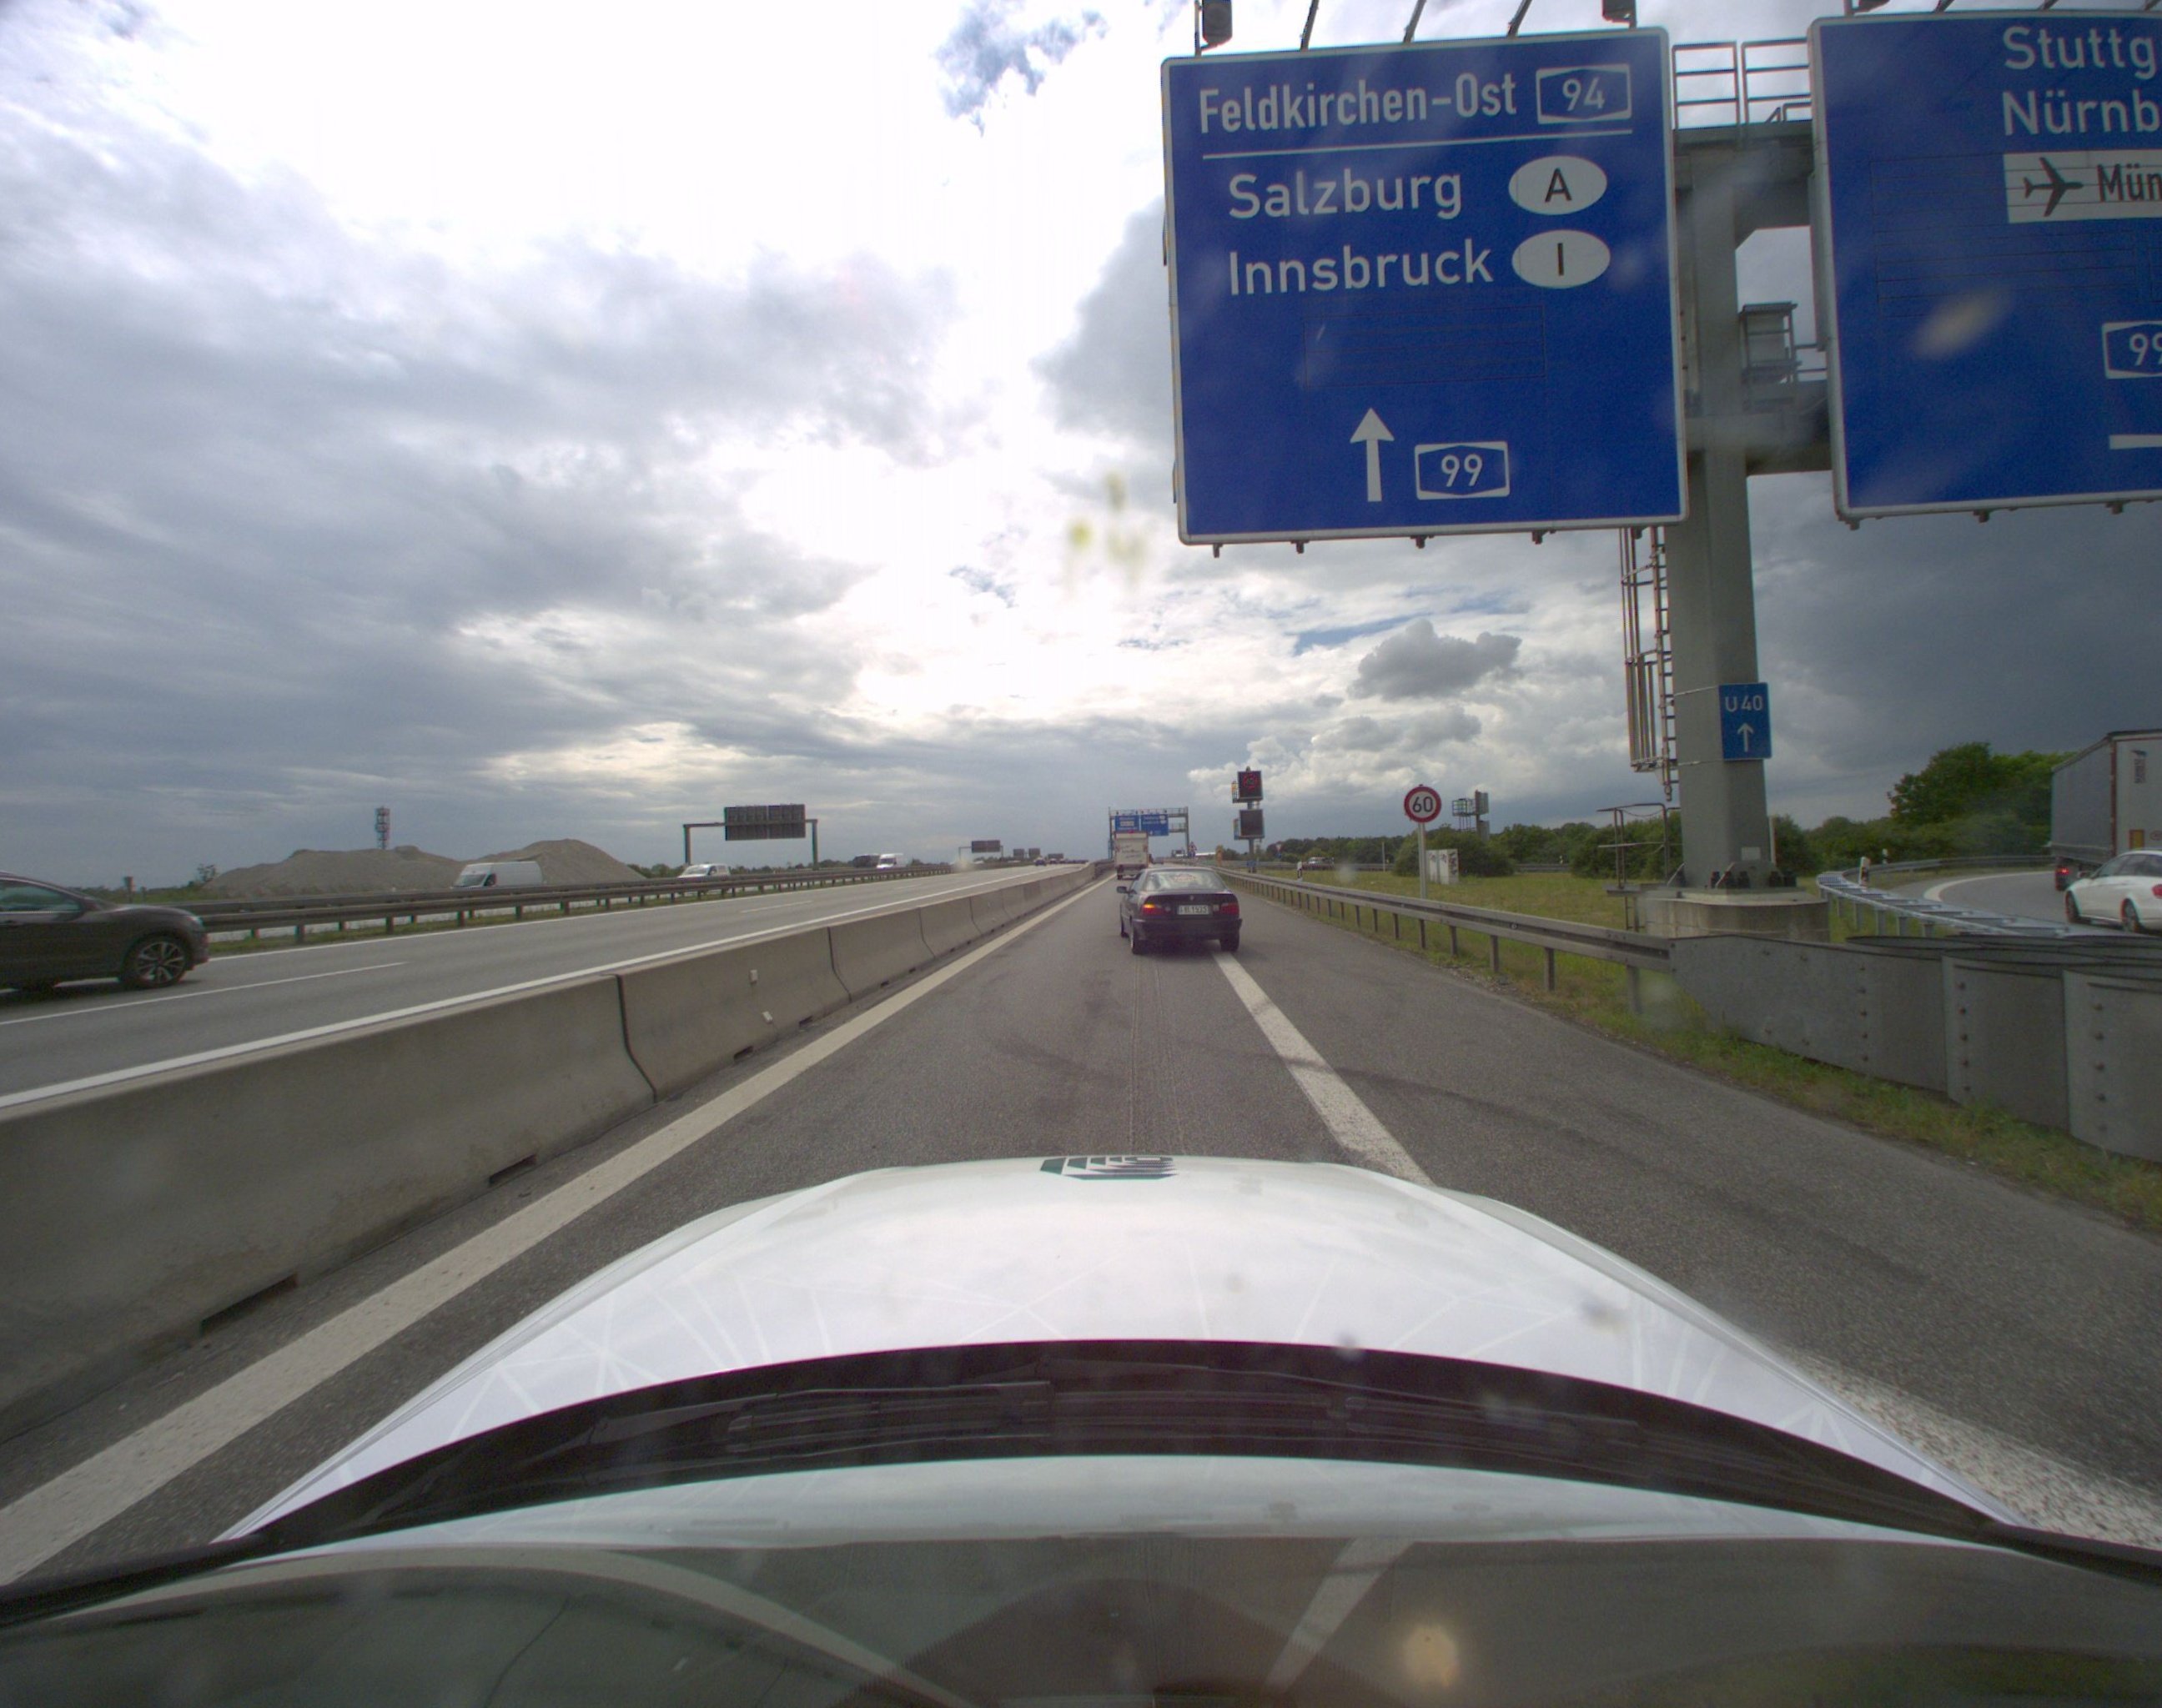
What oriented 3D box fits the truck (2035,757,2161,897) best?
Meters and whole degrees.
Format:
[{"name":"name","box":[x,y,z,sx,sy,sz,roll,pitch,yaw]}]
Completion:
[{"name":"truck","box":[33.898,-0.802,26.477,6.827,4.095,3.329,0,-1,-43]}]

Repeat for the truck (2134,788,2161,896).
[{"name":"truck","box":[50.269,-0.529,35.677,9.008,4.615,3.255,0,-1,-26]}]

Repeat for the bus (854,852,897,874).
[{"name":"bus","box":[-33.912,1.429,135.113,3.201,3.442,13.000,0,0,2]}]

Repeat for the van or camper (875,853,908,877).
[{"name":"van or camper","box":[-22.226,1.240,95.811,2.179,2.619,6.906,-1,0,1]}]

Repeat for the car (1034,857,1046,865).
[{"name":"car","box":[-7.789,1.337,156.040,1.986,1.662,4.385,-1,0,2]}]

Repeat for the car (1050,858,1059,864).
[{"name":"car","box":[-6.548,1.790,201.849,1.987,1.541,4.000,-1,0,1]}]

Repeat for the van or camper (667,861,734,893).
[{"name":"van or camper","box":[-23.785,1.405,51.108,1.985,1.829,4.350,-1,0,2]}]

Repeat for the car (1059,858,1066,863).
[{"name":"car","box":[-5.497,2.030,240.686,1.987,1.398,4.000,-1,0,1]}]

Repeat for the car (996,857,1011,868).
[{"name":"car","box":[-12.332,1.365,129.097,1.659,1.706,4.005,-1,0,4]}]

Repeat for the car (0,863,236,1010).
[{"name":"car","box":[-12.823,0.930,9.166,1.885,1.597,4.421,-1,0,3]}]

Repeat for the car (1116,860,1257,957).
[{"name":"car","box":[1.621,0.811,13.872,1.777,1.378,4.134,0,0,-1]}]

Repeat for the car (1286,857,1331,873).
[{"name":"car","box":[22.786,1.068,81.512,2.009,1.552,3.955,0,-1,-37]}]

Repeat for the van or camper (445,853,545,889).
[{"name":"van or camper","box":[-37.542,1.058,52.404,2.179,2.172,5.810,-1,0,1]}]

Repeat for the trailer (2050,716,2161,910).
[{"name":"trailer","box":[28.555,-0.917,21.486,13.103,4.193,3.301,0,0,-42]}]

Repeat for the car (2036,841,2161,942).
[{"name":"car","box":[18.312,0.532,13.566,2.185,1.501,4.817,-2,-1,38]}]

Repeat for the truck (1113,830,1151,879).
[{"name":"truck","box":[3.422,0.060,54.867,2.394,3.090,6.375,-1,0,3]}]
